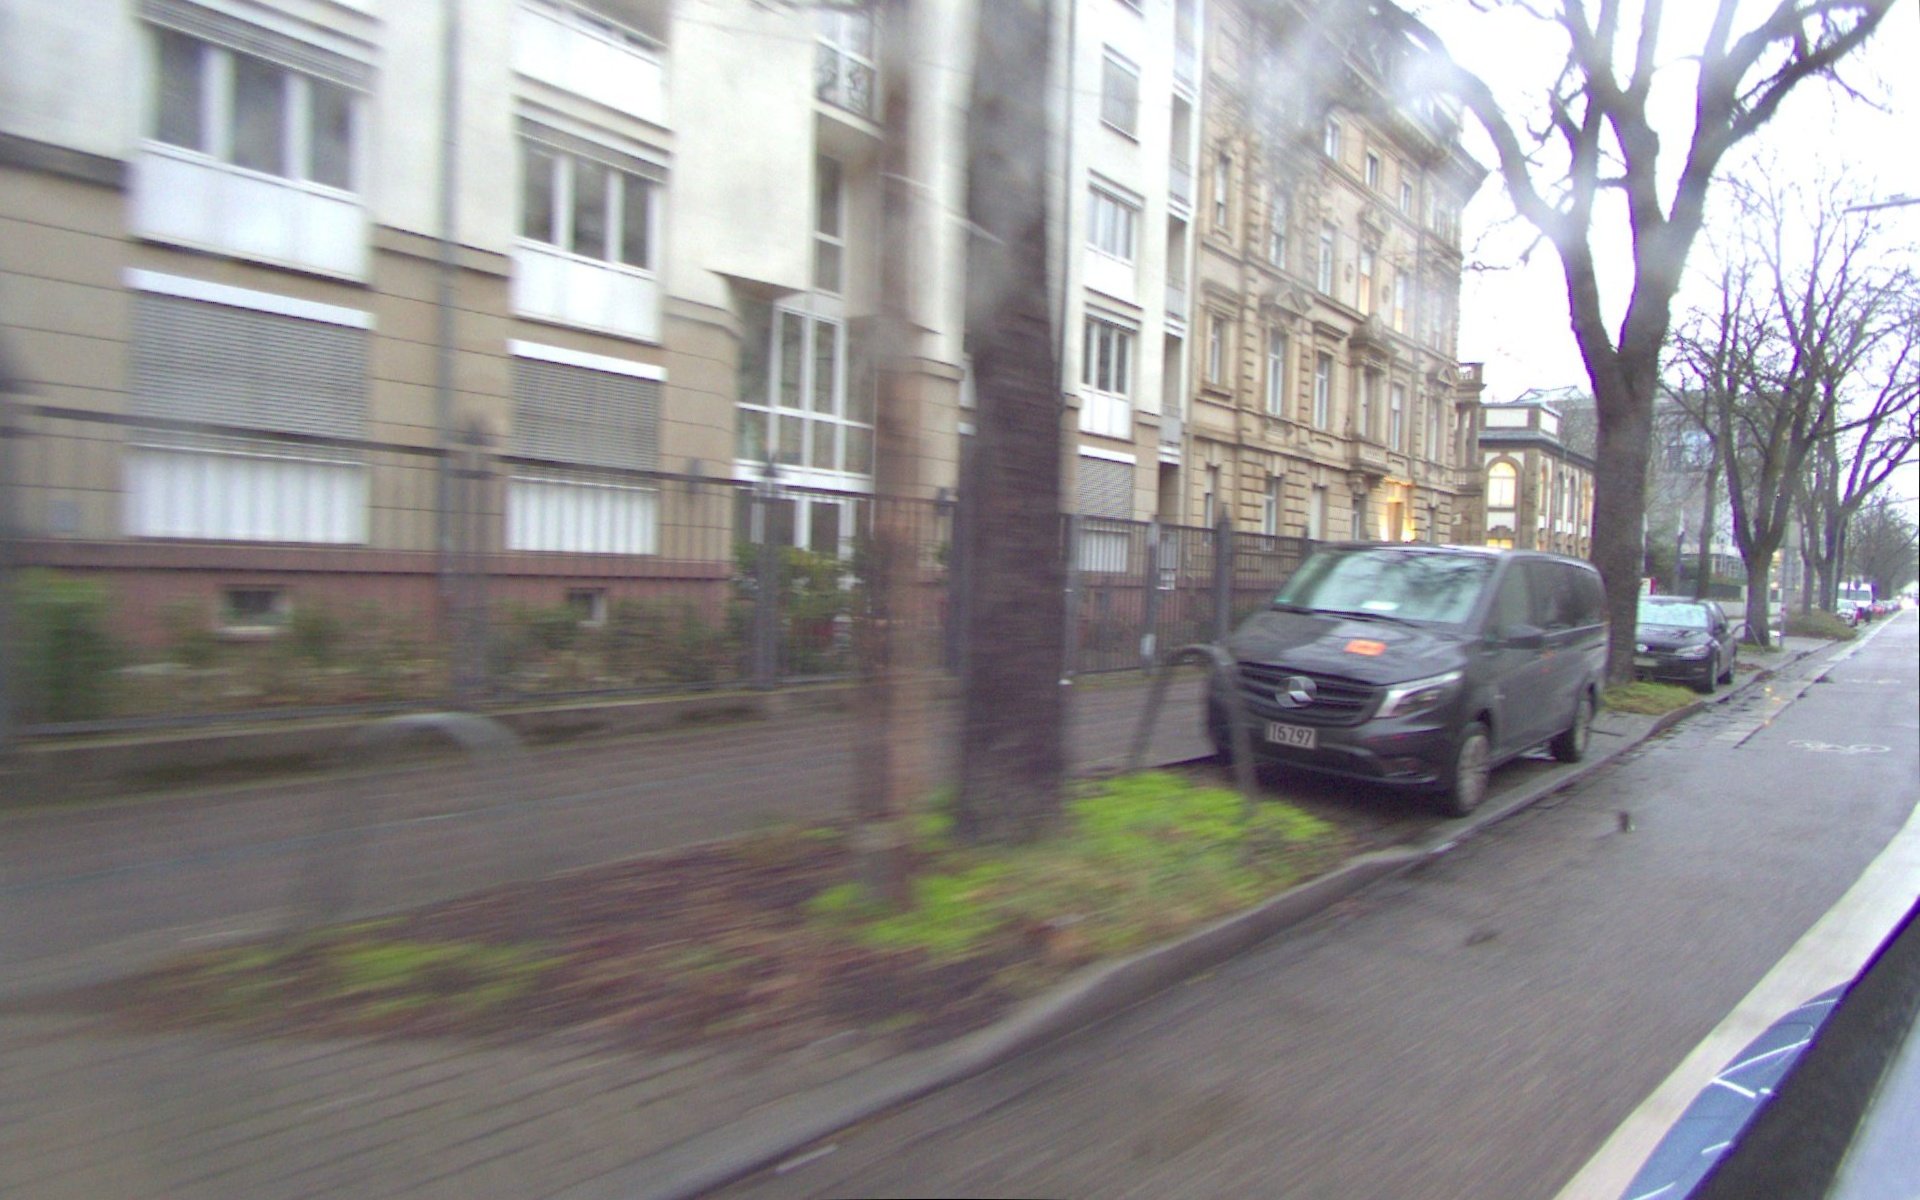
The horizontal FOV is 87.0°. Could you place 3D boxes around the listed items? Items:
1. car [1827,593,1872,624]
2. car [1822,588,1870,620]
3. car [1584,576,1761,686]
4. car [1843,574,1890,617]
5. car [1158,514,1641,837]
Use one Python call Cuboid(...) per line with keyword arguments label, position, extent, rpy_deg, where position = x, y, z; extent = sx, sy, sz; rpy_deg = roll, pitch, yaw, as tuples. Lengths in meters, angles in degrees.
Cuboid(label="car", position=(44.673, 0.393, 50.863), extent=(1.622, 1.425, 3.941), rpy_deg=(2, 2, 41))
Cuboid(label="car", position=(50.910, 0.186, 58.182), extent=(1.992, 1.702, 3.941), rpy_deg=(2, 2, 41))
Cuboid(label="car", position=(11.742, 0.431, 16.577), extent=(1.758, 1.463, 4.093), rpy_deg=(6, 4, 43))
Cuboid(label="car", position=(58.091, -0.347, 64.906), extent=(2.086, 2.669, 5.369), rpy_deg=(2, 2, 41))
Cuboid(label="car", position=(3.896, 0.382, 8.412), extent=(2.032, 1.898, 4.884), rpy_deg=(4, 3, 44))
